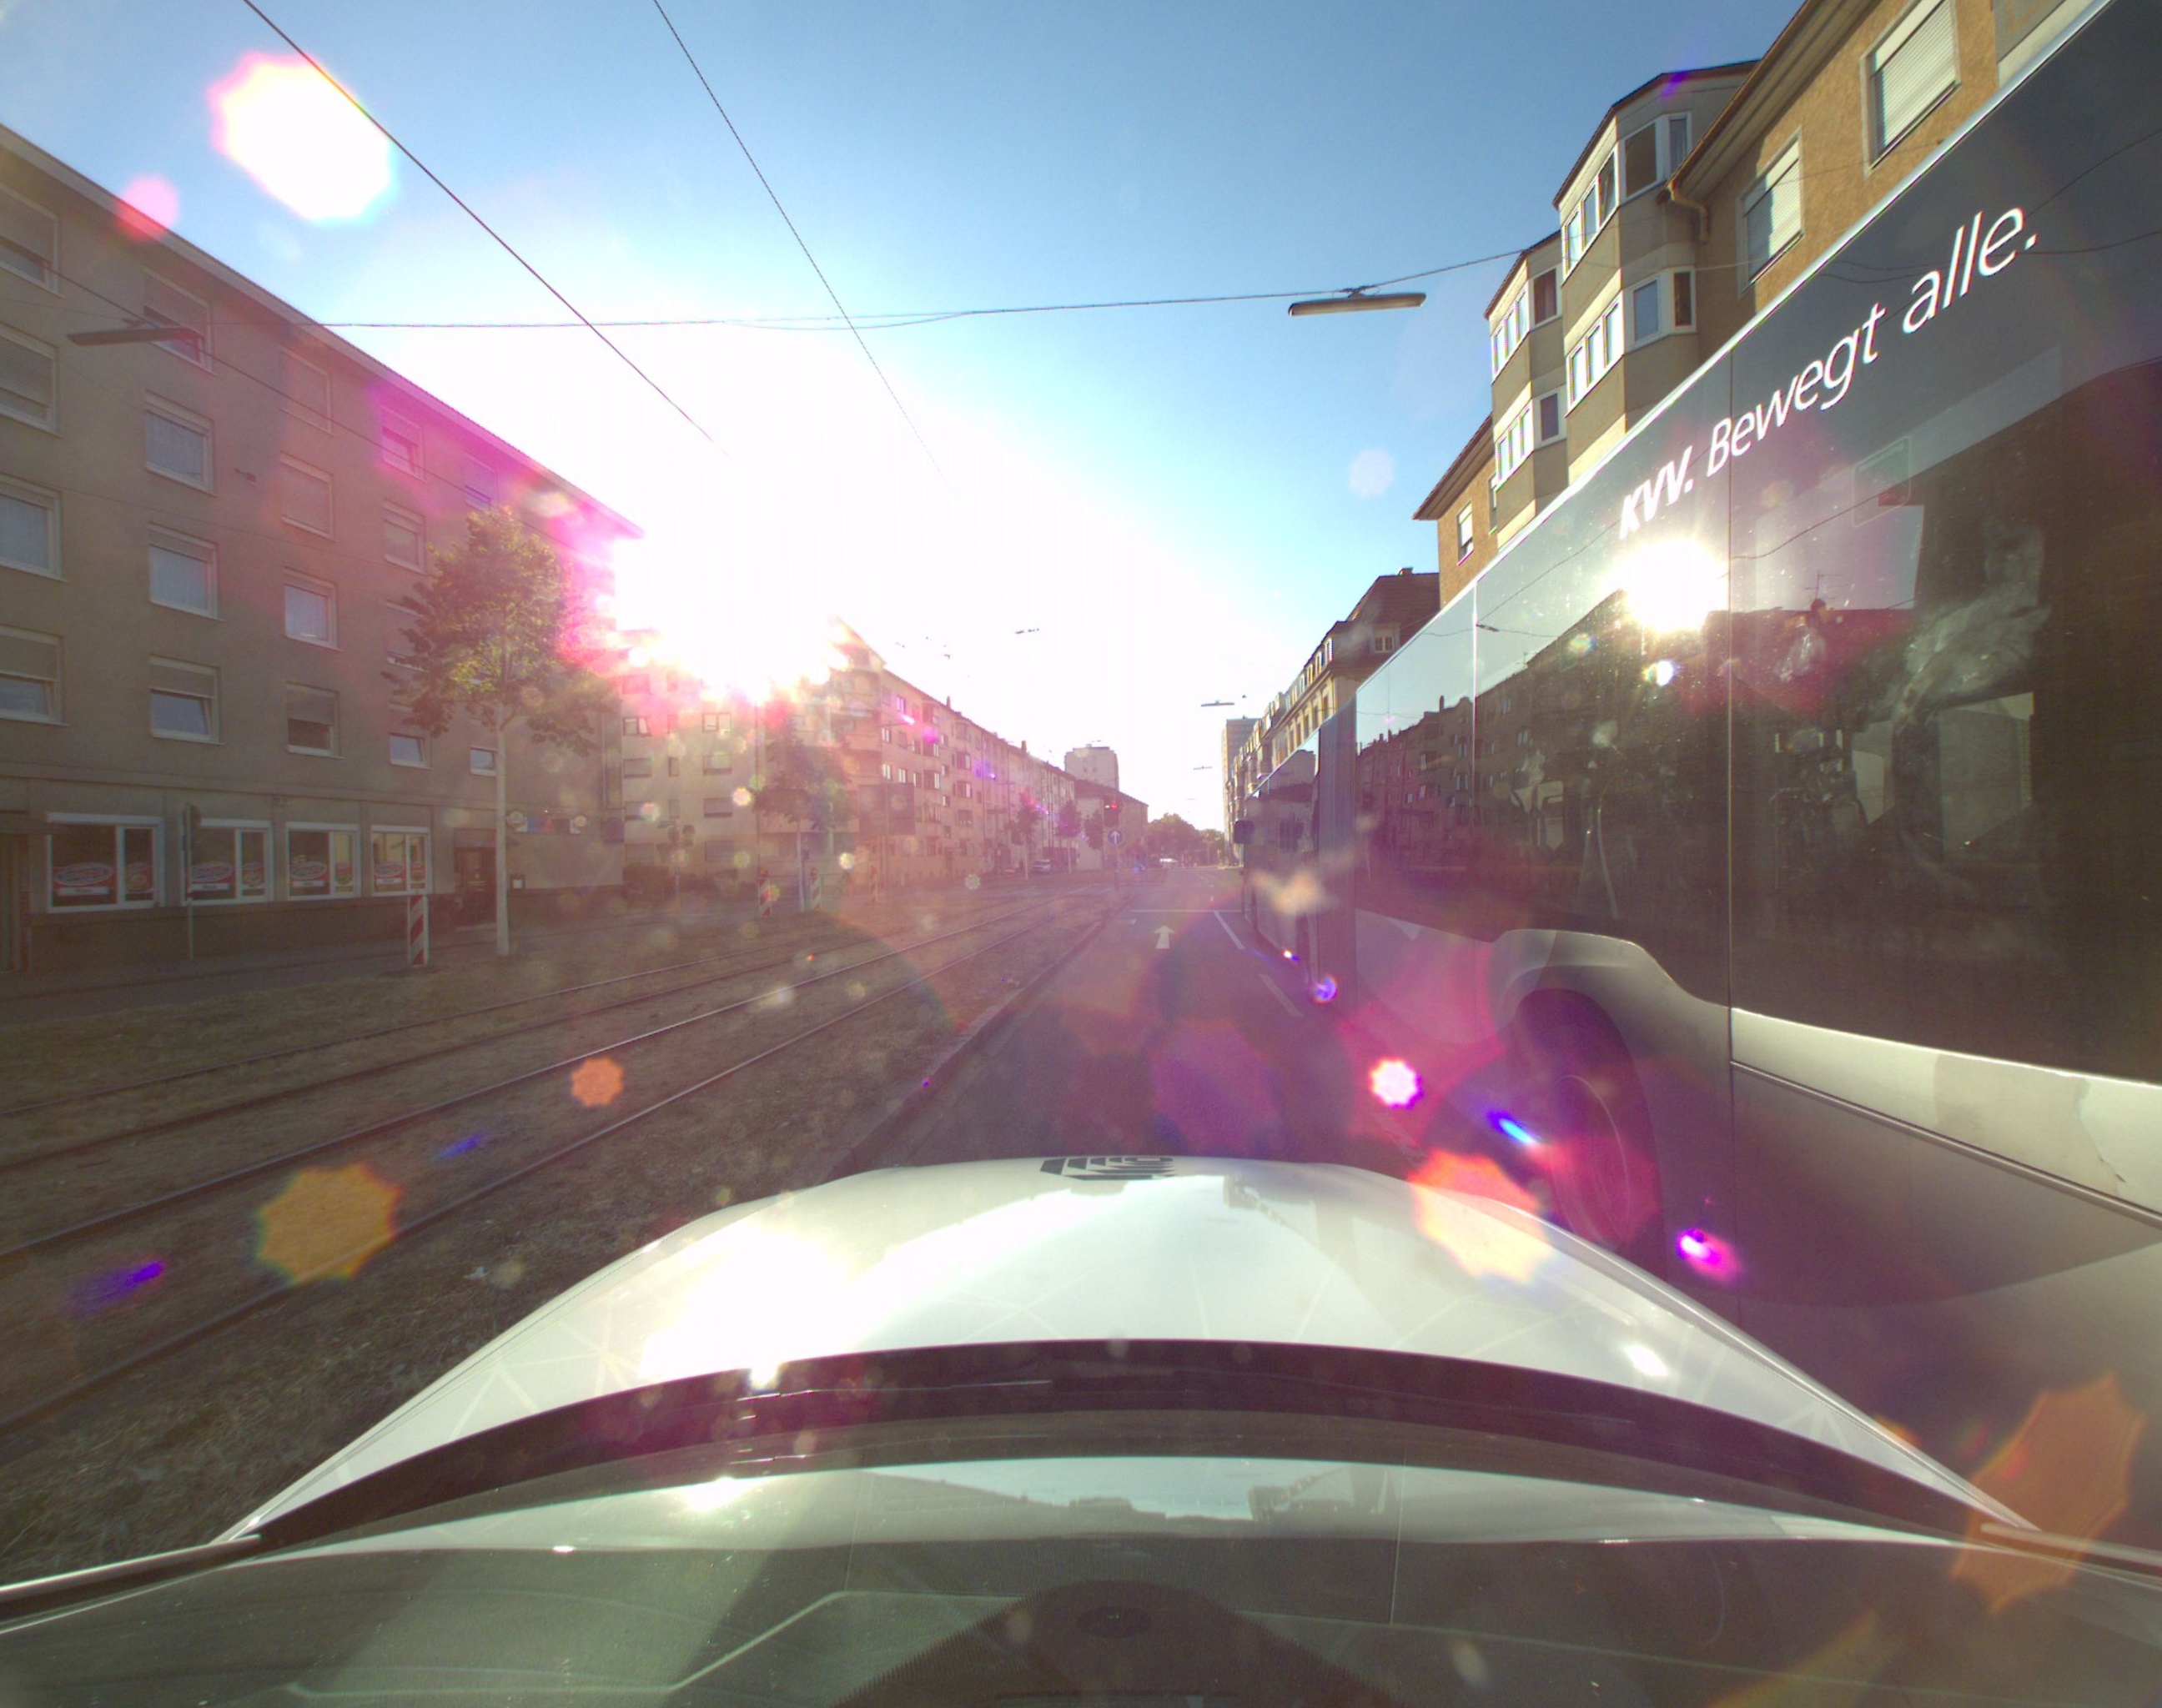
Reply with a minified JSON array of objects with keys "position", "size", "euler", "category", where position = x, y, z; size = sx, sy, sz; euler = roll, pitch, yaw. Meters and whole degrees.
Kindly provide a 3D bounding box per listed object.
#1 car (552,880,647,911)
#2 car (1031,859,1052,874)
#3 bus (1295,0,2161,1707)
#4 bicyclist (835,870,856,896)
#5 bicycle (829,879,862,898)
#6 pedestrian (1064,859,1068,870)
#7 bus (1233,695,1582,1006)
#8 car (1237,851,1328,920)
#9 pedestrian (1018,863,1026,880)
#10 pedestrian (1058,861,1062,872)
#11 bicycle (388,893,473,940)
[{"position":[-25.950,2.241,44.010],"size":[3.950,1.440,1.788],"euler":[-3,-1,-4],"category":"car"},{"position":[-4.962,1.601,103.349],"size":[1.801,1.798,4.254],"euler":[0,-1,8],"category":"car"},{"position":[3.023,-0.045,3.696],"size":[2.724,3.056,8.869],"euler":[0,0,7],"category":"bus"},{"position":[-13.671,1.665,47.285],"size":[0.522,1.447,0.971],"euler":[-3,0,37],"category":"bicyclist"},{"position":[-13.654,1.994,47.278],"size":[0.522,0.984,1.895],"euler":[-3,-1,37],"category":"bicycle"},{"position":[-2.313,1.655,123.604],"size":[0.493,1.658,0.409],"euler":[-2,-1,7],"category":"pedestrian"},{"position":[4.073,-0.001,12.671],"size":[2.724,3.056,9.147],"euler":[0,0,7],"category":"bus"},{"position":[5.140,0.752,21.263],"size":[1.761,1.575,4.093],"euler":[-2,-1,7],"category":"car"},{"position":[-7.392,2.183,102.195],"size":[0.783,2.014,0.891],"euler":[-2,-1,3],"category":"pedestrian"},{"position":[-3.150,1.871,123.455],"size":[0.493,1.658,0.409],"euler":[-2,-1,7],"category":"pedestrian"},{"position":[-17.722,1.683,22.246],"size":[0.743,1.115,1.781],"euler":[-2,-1,7],"category":"bicycle"}]
